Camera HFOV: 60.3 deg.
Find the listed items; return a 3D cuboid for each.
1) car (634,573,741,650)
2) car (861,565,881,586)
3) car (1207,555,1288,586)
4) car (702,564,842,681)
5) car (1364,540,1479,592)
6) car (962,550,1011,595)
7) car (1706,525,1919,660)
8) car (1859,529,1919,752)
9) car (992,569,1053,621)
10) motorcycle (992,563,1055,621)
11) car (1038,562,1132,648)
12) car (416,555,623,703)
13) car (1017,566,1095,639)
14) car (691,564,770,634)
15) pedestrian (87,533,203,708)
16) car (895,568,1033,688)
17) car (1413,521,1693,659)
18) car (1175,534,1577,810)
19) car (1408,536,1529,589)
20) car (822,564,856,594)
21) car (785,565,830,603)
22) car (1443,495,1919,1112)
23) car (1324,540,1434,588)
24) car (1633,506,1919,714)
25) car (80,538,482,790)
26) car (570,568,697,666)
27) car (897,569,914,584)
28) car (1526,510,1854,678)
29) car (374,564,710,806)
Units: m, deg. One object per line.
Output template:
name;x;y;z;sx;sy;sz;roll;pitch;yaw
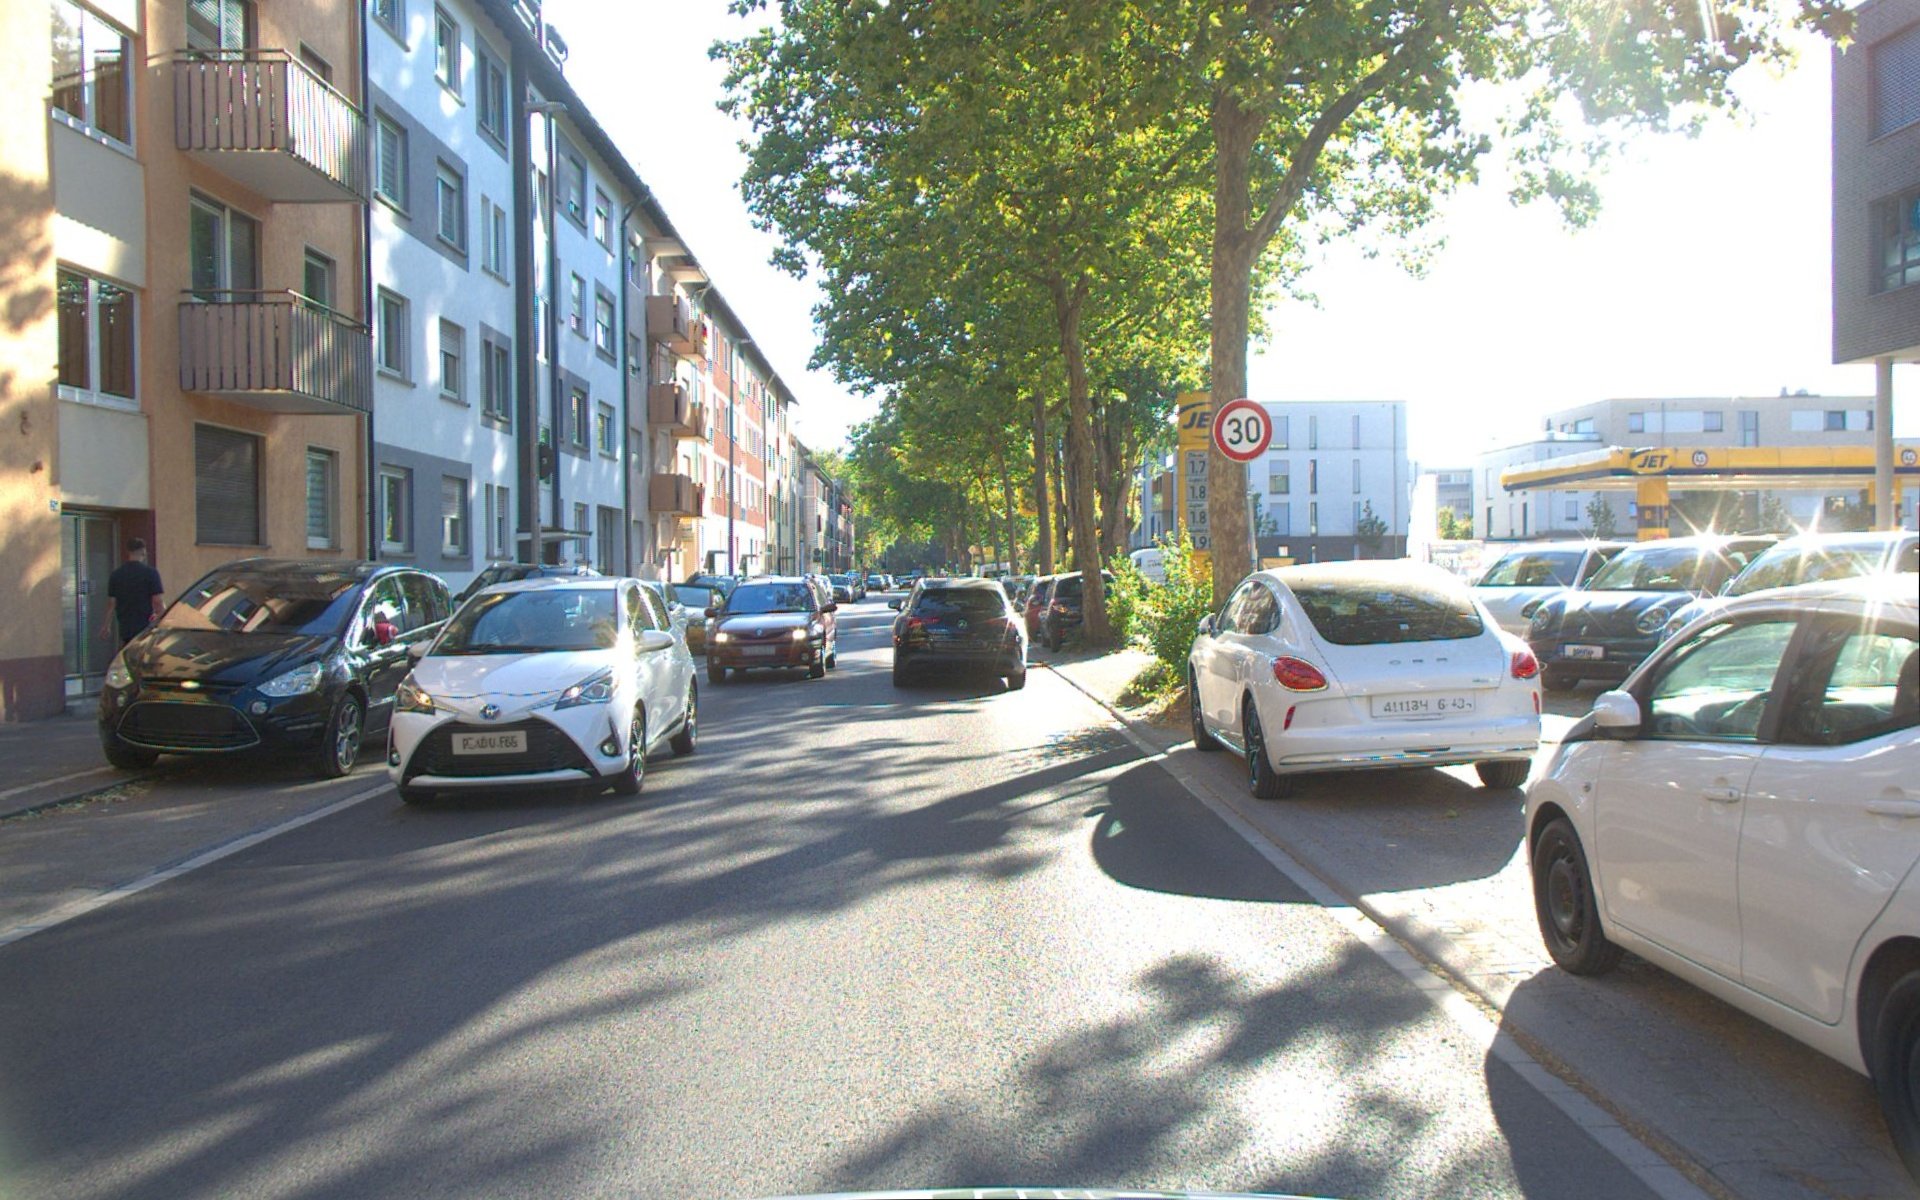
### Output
car;-5.591;0.190;34.388;1.564;1.458;4.217;1;1;-1
car;-8.685;-2.400;162.071;1.868;1.982;3.999;0;0;-2
car;14.943;-1.525;86.087;3.907;1.556;1.806;0;0;-3
car;-2.768;0.270;25.203;1.630;1.550;4.412;-2;1;-1
car;16.529;-1.207;59.243;3.782;1.741;1.824;-2;1;-28
car;1.222;-1.268;78.384;1.954;2.049;3.997;0;0;-4
car;11.336;-0.159;21.166;3.778;1.537;1.622;-3;2;-36
car;8.528;0.233;12.379;3.774;1.572;1.643;-2;1;-34
car;1.965;-0.171;52.941;1.687;1.584;3.600;1;1;-2
motorcycle;1.749;-0.211;45.708;1.619;1.584;0.607;1;0;-23
car;2.490;0.078;33.630;1.528;1.624;3.600;1;1;-2
car;-5.469;0.279;21.054;1.564;1.669;4.411;1;1;-2
car;2.246;0.036;39.492;1.528;1.624;3.600;1;1;-2
car;-5.782;-0.061;41.983;1.564;1.658;3.837;1;1;-2
pedestrian;-8.678;0.206;17.650;0.750;1.799;0.933;2;1;-1
car;0.137;0.313;22.850;1.708;1.468;3.971;1;1;3
car;7.835;-0.182;21.733;3.781;1.606;1.723;-3;2;-38
car;2.818;0.409;12.307;1.773;1.565;4.583;-4;1;0
car;16.837;-1.243;54.763;3.782;1.616;1.683;-2;1;-28
car;-7.037;-1.238;96.156;1.678;1.589;3.801;3;1;-1
car;-6.881;-0.758;74.857;1.678;1.589;3.801;3;1;-1
car;3.058;0.447;5.456;1.602;1.493;4.020;-3;1;-2
car;16.219;-1.392;64.066;3.768;1.741;1.831;-2;1;-19
car;7.944;-0.001;14.965;3.778;1.637;1.719;-3;2;-36
car;-5.601;0.414;14.317;1.710;1.818;4.548;1;1;-2
car;-5.599;0.243;28.767;1.516;1.550;4.004;1;1;-2
car;-6.077;-2.605;184.095;1.863;1.690;3.999;0;0;-2
car;8.040;-0.129;18.097;3.781;1.606;1.717;-3;2;-38
car;-3.000;0.508;12.675;1.606;1.550;3.934;0;1;-1
